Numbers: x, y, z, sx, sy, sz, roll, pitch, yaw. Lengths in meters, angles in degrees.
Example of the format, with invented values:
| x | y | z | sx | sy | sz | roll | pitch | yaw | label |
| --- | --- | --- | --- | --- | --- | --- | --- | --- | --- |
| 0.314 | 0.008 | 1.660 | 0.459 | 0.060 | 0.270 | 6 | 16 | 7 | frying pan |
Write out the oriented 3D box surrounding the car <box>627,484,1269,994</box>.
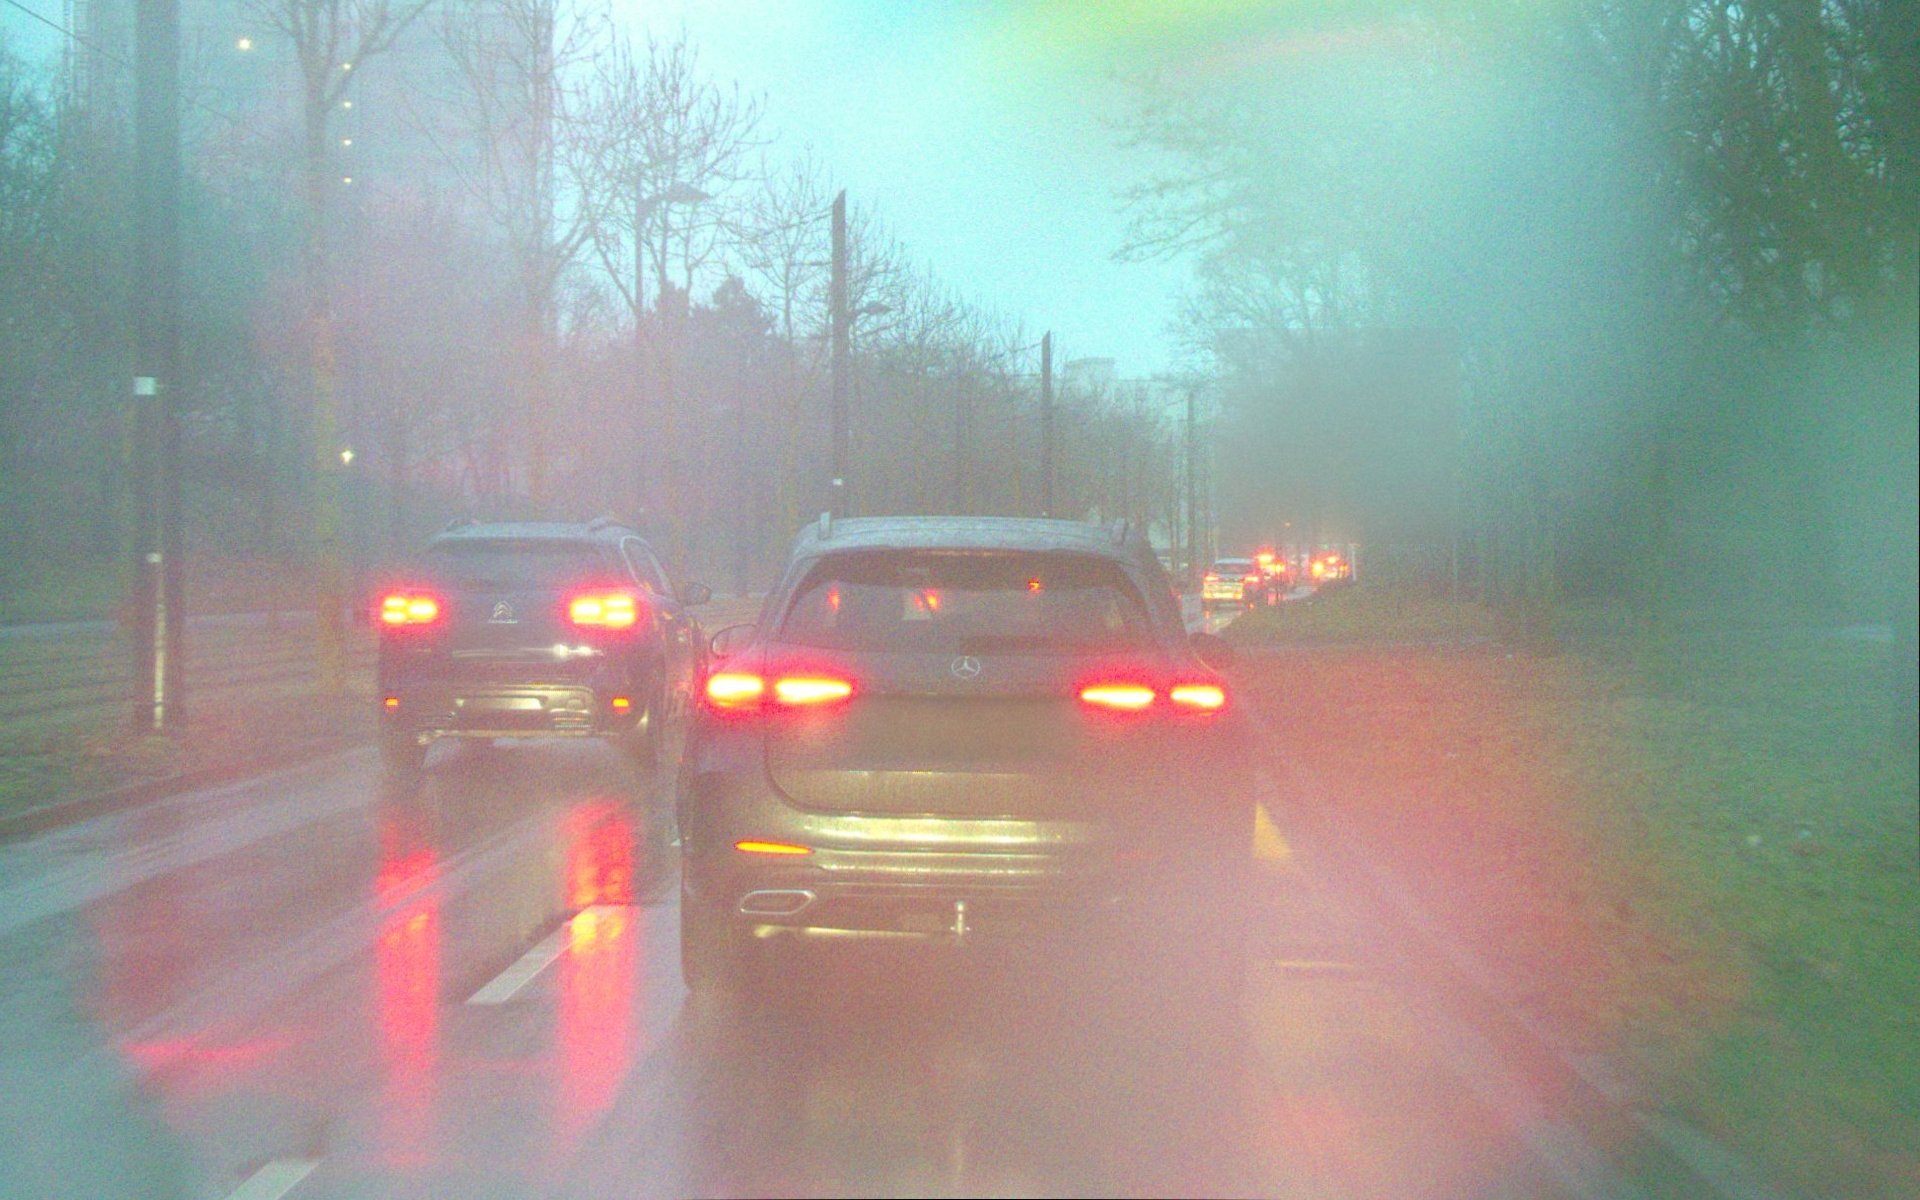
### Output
| x | y | z | sx | sy | sz | roll | pitch | yaw | label |
| --- | --- | --- | --- | --- | --- | --- | --- | --- | --- |
| -0.064 | 0.394 | 12.774 | 1.998 | 1.578 | 4.000 | 1 | 1 | -1 | car |

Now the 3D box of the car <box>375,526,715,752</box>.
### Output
| x | y | z | sx | sy | sz | roll | pitch | yaw | label |
| --- | --- | --- | --- | --- | --- | --- | --- | --- | --- |
| -2.834 | 0.213 | 24.291 | 1.880 | 1.454 | 4.000 | 0 | 1 | 0 | car |

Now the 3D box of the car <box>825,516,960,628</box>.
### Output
| x | y | z | sx | sy | sz | roll | pitch | yaw | label |
| --- | --- | --- | --- | --- | --- | --- | --- | --- | --- |
| -1.043 | -0.445 | 51.001 | 1.880 | 1.588 | 4.001 | 0 | 1 | -3 | car |

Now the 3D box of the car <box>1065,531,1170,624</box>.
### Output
| x | y | z | sx | sy | sz | roll | pitch | yaw | label |
| --- | --- | --- | --- | --- | --- | --- | --- | --- | --- |
| 2.678 | -0.399 | 59.221 | 1.708 | 1.552 | 3.996 | 0 | 1 | 1 | car |
